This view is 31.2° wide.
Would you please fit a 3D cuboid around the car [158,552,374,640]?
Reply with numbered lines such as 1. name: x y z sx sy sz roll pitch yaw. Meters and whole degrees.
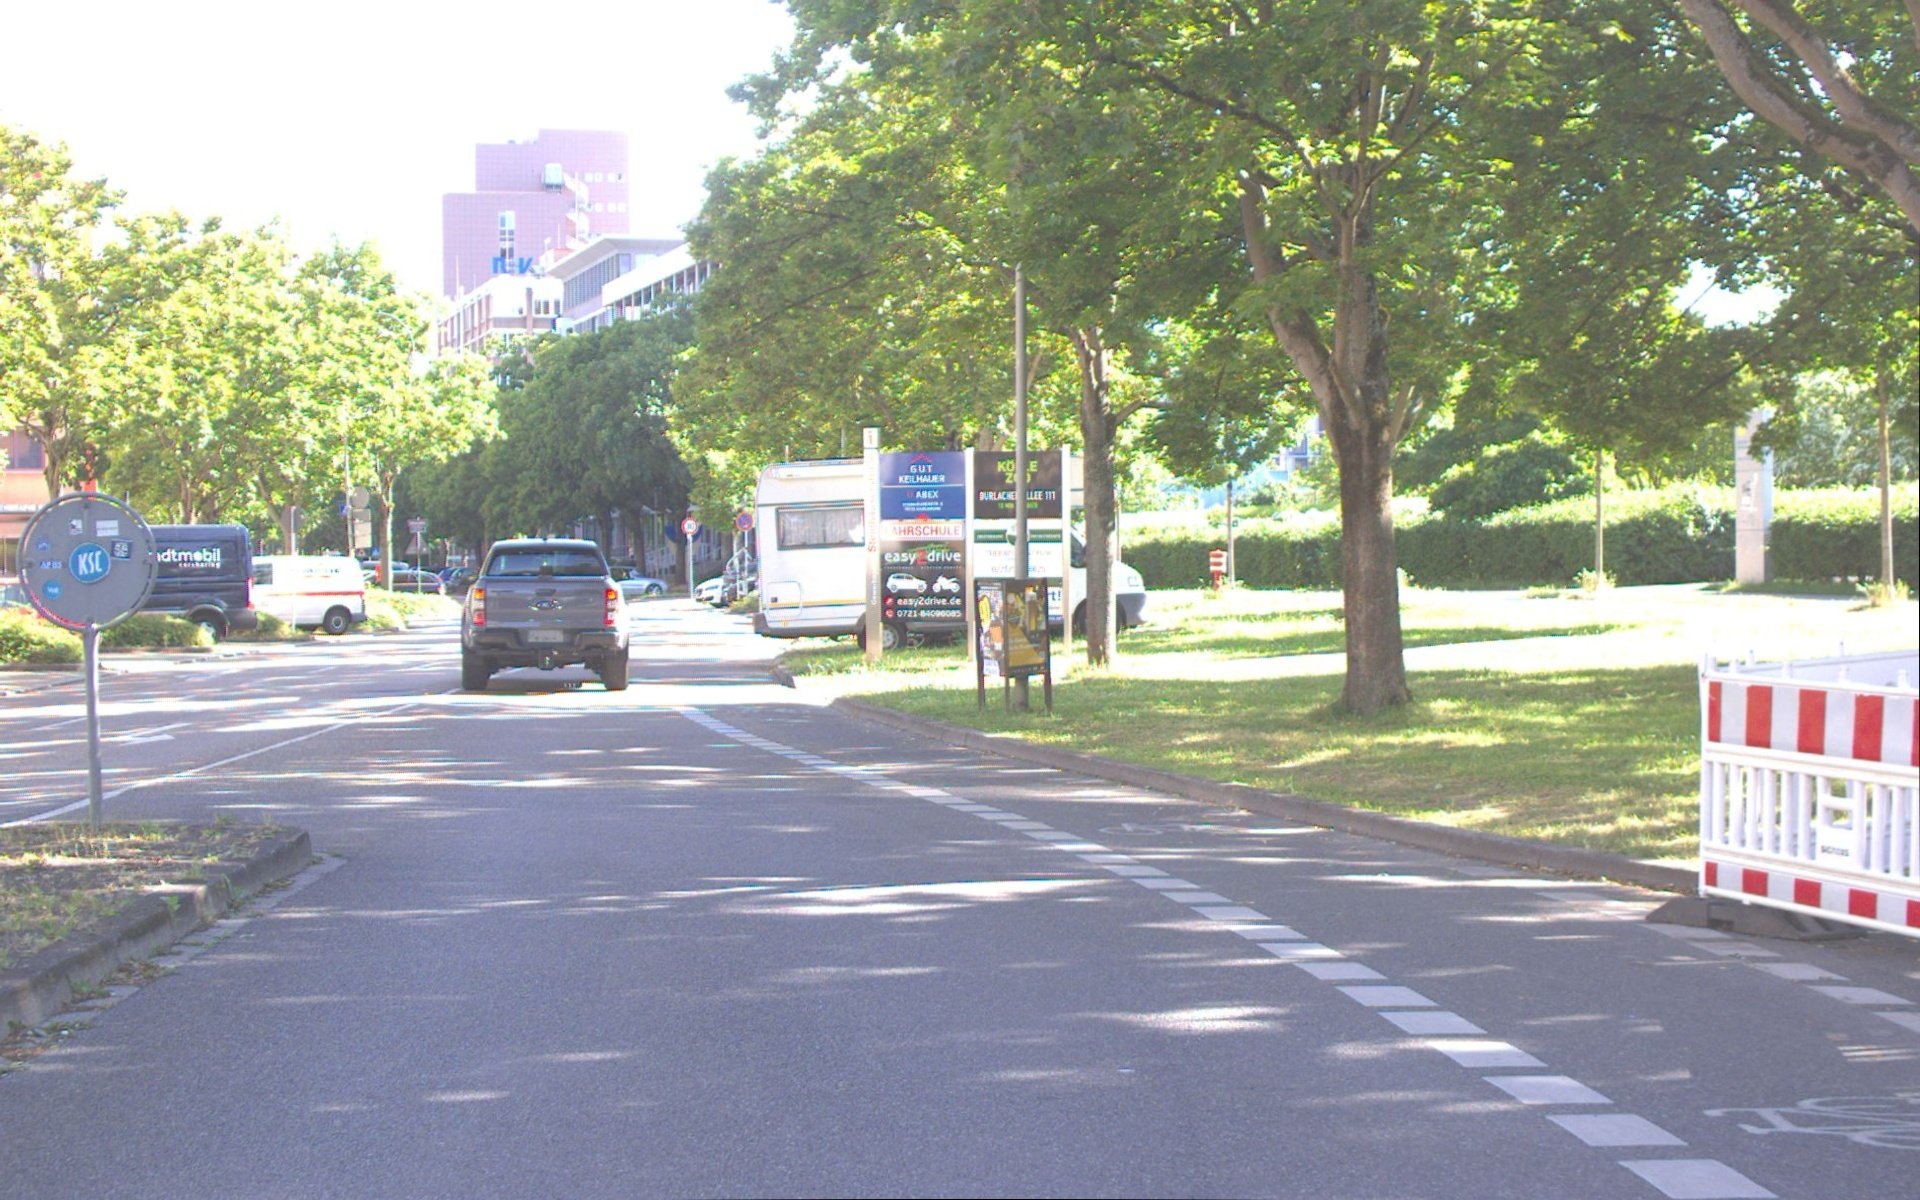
1. car: -17.369 -0.109 86.162 4.885 2.076 1.985 -2 1 -37

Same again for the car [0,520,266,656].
1. car: -16.624 -0.253 68.031 5.260 2.537 1.986 -1 1 -28

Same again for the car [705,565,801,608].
1. car: -7.161 -0.470 118.815 3.243 1.273 1.516 -3 1 -4

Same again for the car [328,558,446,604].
1. car: -19.758 -0.653 118.493 3.882 1.360 1.410 -3 1 -12

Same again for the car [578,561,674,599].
1. car: -14.453 -0.869 148.678 3.946 1.392 1.517 -3 1 -12

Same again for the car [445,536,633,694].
1. car: -5.299 0.127 42.805 2.132 1.829 4.942 -1 1 -9

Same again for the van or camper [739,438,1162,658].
1. van or camper: -0.209 -0.782 51.719 6.078 2.918 2.576 -3 1 -4

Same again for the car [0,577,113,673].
1. car: -16.568 0.440 57.310 4.407 1.547 1.922 -1 1 -27
